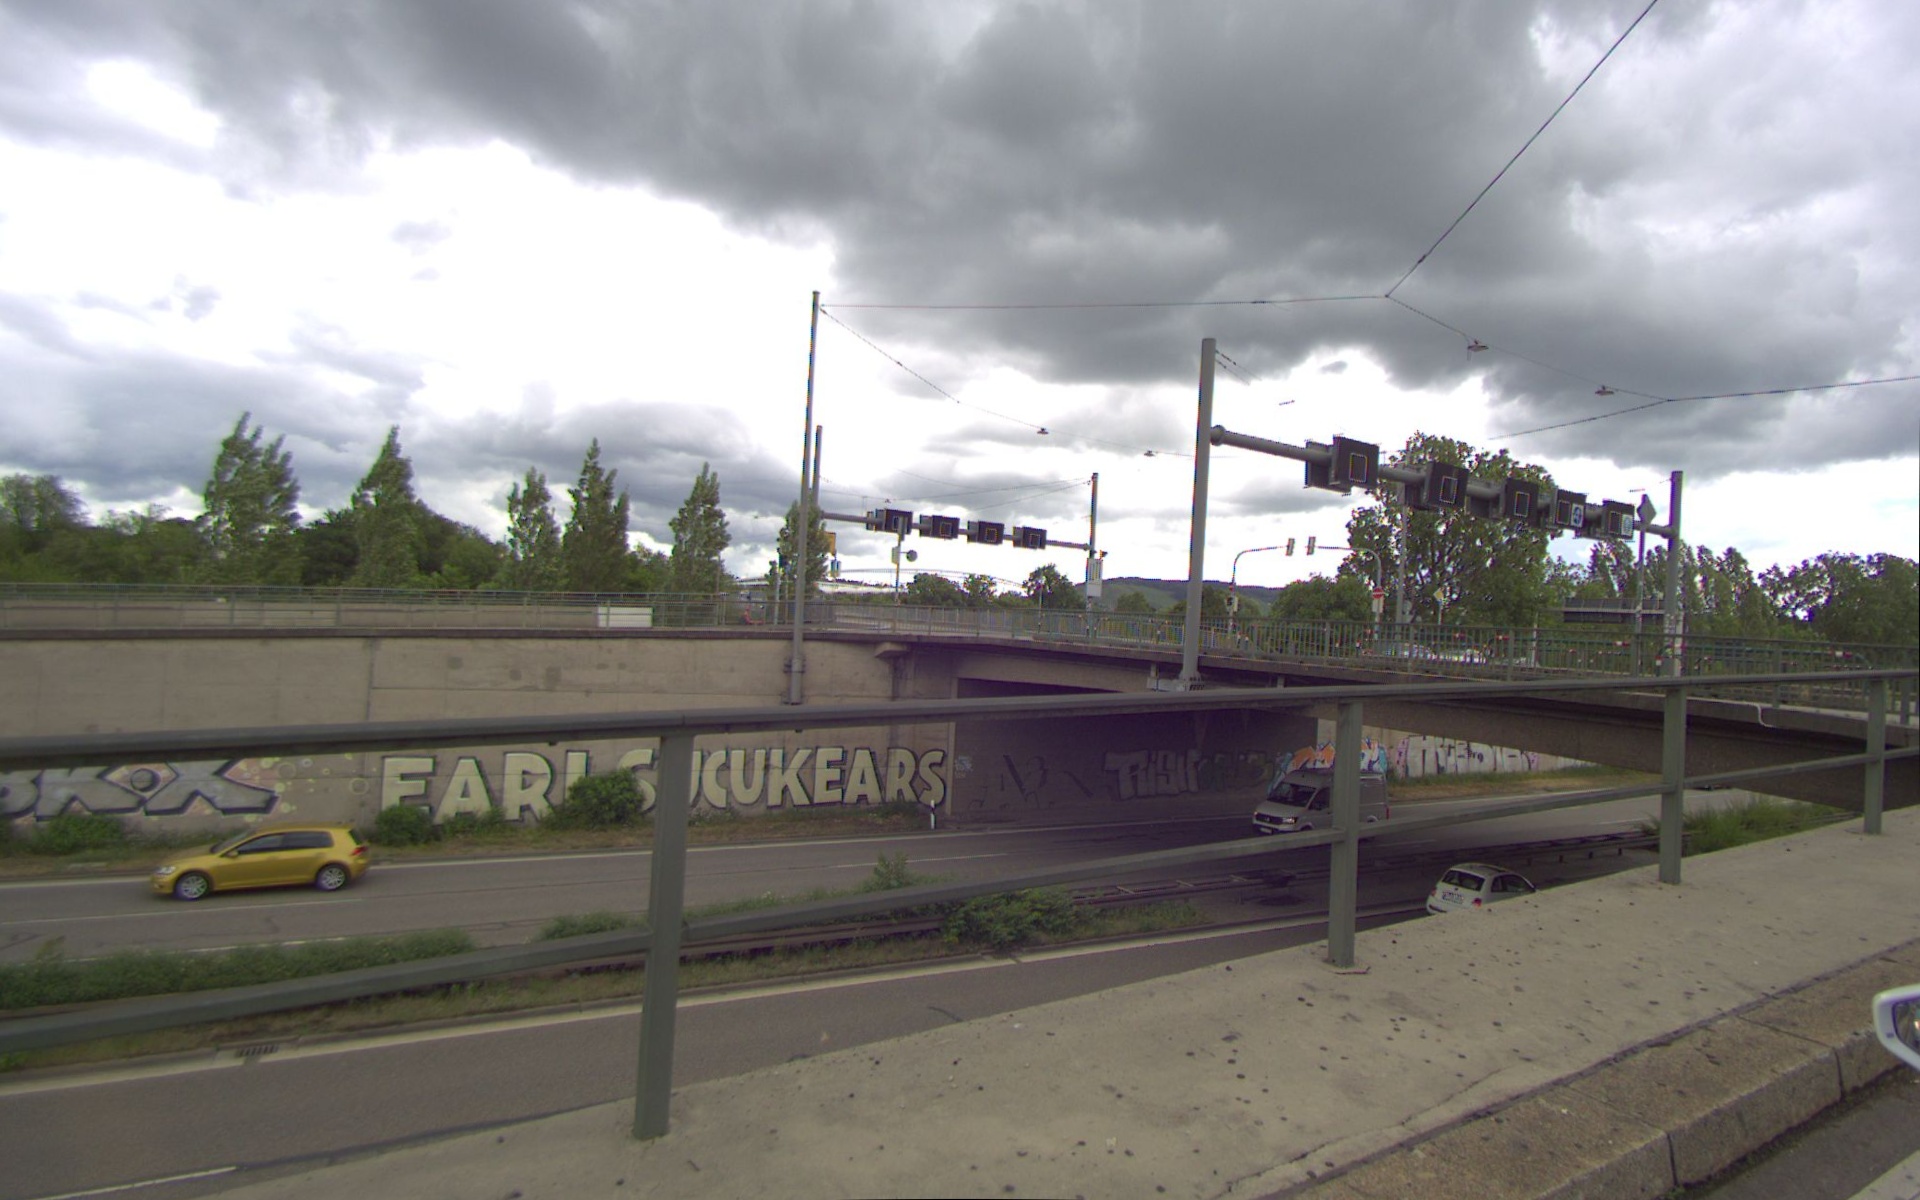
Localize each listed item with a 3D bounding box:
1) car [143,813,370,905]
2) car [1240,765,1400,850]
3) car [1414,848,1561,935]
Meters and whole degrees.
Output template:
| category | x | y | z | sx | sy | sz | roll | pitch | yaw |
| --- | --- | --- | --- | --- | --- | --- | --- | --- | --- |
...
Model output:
| category | x | y | z | sx | sy | sz | roll | pitch | yaw |
| --- | --- | --- | --- | --- | --- | --- | --- | --- | --- |
| car | -16.302 | 5.995 | 23.571 | 4.106 | 1.476 | 1.859 | 4 | -3 | -30 |
| car | 13.421 | 7.602 | 37.324 | 6.032 | 2.628 | 2.157 | 5 | -3 | -30 |
| car | 13.628 | 7.448 | 25.929 | 3.565 | 1.553 | 1.685 | 4 | -2 | -29 |
